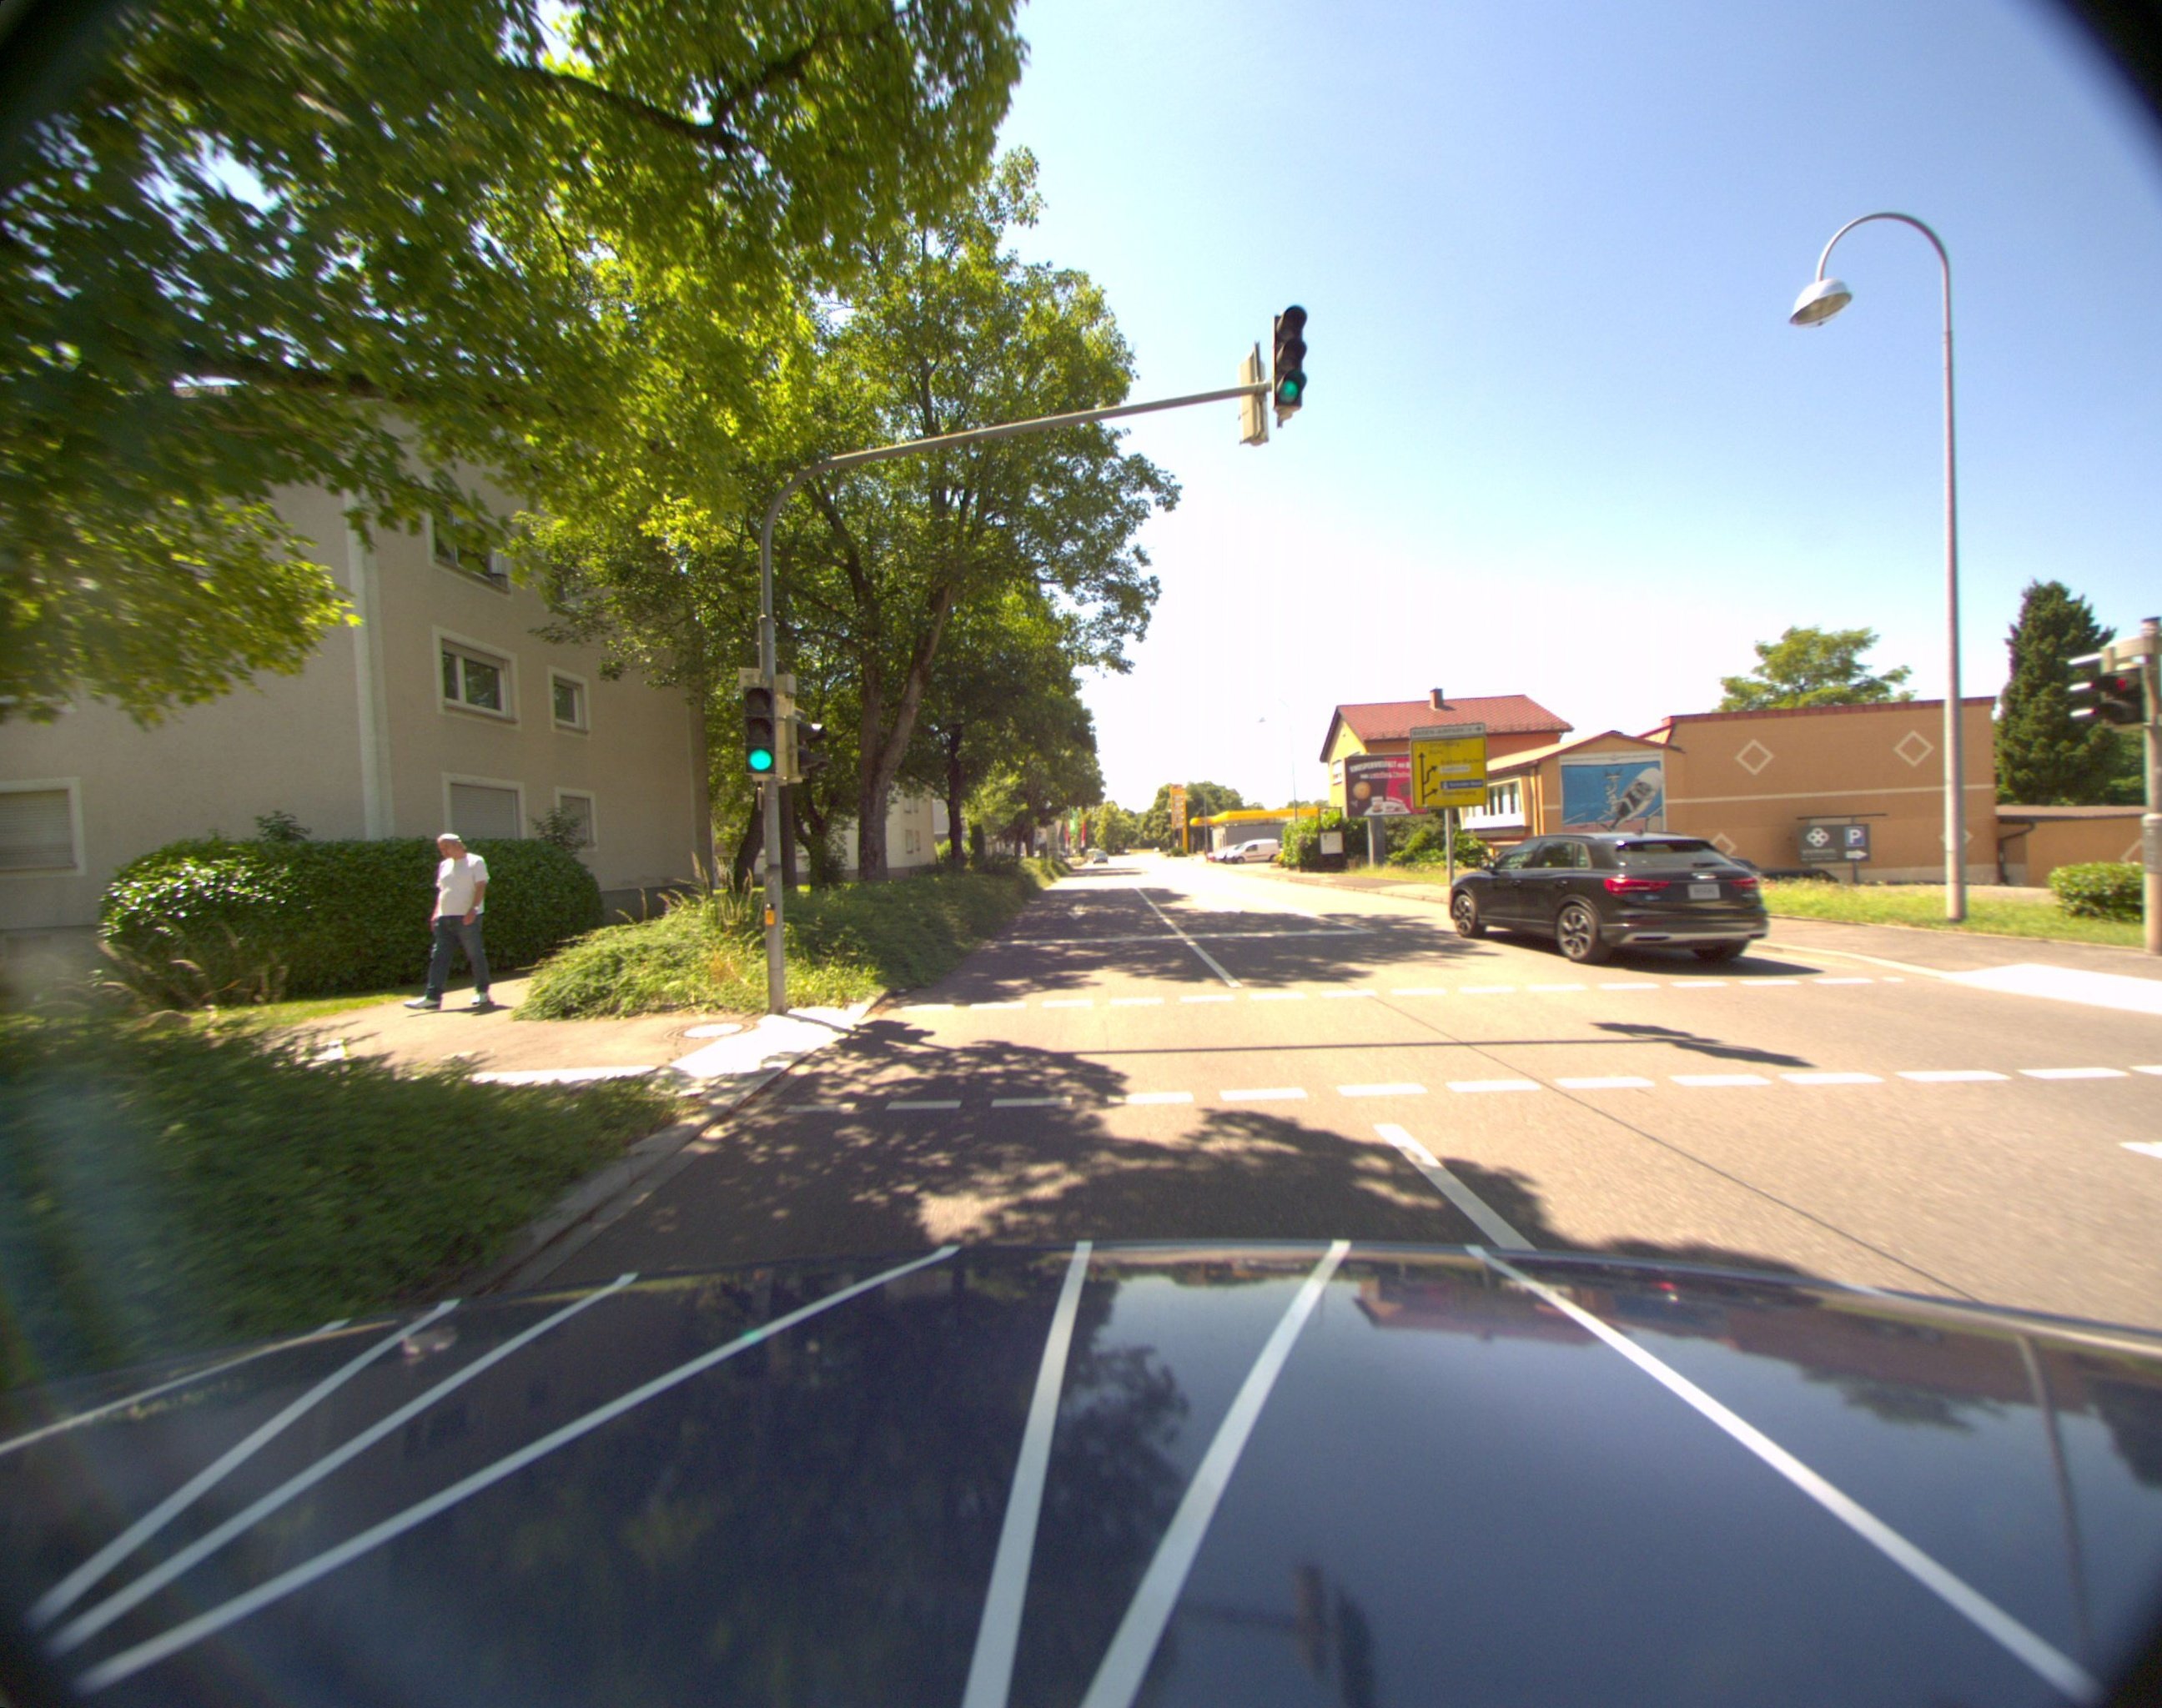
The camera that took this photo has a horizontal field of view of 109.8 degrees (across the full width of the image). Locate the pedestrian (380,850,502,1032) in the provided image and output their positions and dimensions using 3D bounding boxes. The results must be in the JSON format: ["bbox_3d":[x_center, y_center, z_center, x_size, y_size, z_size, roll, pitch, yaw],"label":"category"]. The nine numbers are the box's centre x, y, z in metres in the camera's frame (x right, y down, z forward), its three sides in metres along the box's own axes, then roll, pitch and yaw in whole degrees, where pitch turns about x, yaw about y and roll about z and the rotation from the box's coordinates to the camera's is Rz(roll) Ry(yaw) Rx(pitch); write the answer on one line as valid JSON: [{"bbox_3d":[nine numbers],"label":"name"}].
[{"bbox_3d":[-7.007,0.899,8.374,0.674,1.863,0.901,-2,1,-18],"label":"pedestrian"}]

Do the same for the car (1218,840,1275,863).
[{"bbox_3d":[13.793,-0.241,63.363,4.246,1.750,1.874,-2,1,-3],"label":"car"}]

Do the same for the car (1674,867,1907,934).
[{"bbox_3d":[18.083,1.162,19.554,4.094,1.524,1.772,-1,1,8],"label":"car"}]

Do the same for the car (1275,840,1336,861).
[{"bbox_3d":[18.628,-0.282,63.134,4.401,1.554,1.874,-2,1,-3],"label":"car"}]

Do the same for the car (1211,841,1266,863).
[{"bbox_3d":[14.019,-0.191,67.824,4.401,1.750,1.874,-2,1,-3],"label":"car"}]

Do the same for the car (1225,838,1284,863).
[{"bbox_3d":[13.951,-0.264,61.174,4.191,1.858,1.874,-2,1,-3],"label":"car"}]

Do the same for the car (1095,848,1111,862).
[{"bbox_3d":[2.489,0.122,85.543,1.771,1.521,4.130,-2,1,2],"label":"car"}]

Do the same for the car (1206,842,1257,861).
[{"bbox_3d":[14.341,-0.239,72.380,4.401,1.750,1.874,-2,1,-3],"label":"car"}]

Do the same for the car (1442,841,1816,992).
[{"bbox_3d":[6.807,0.645,10.172,1.931,1.546,4.302,-2,1,1],"label":"car"}]

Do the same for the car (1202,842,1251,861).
[{"bbox_3d":[14.273,-0.258,74.782,4.401,1.750,1.874,-2,1,-3],"label":"car"}]

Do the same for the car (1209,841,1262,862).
[{"bbox_3d":[14.197,-0.241,70.043,4.401,1.750,1.874,-2,1,-3],"label":"car"}]
